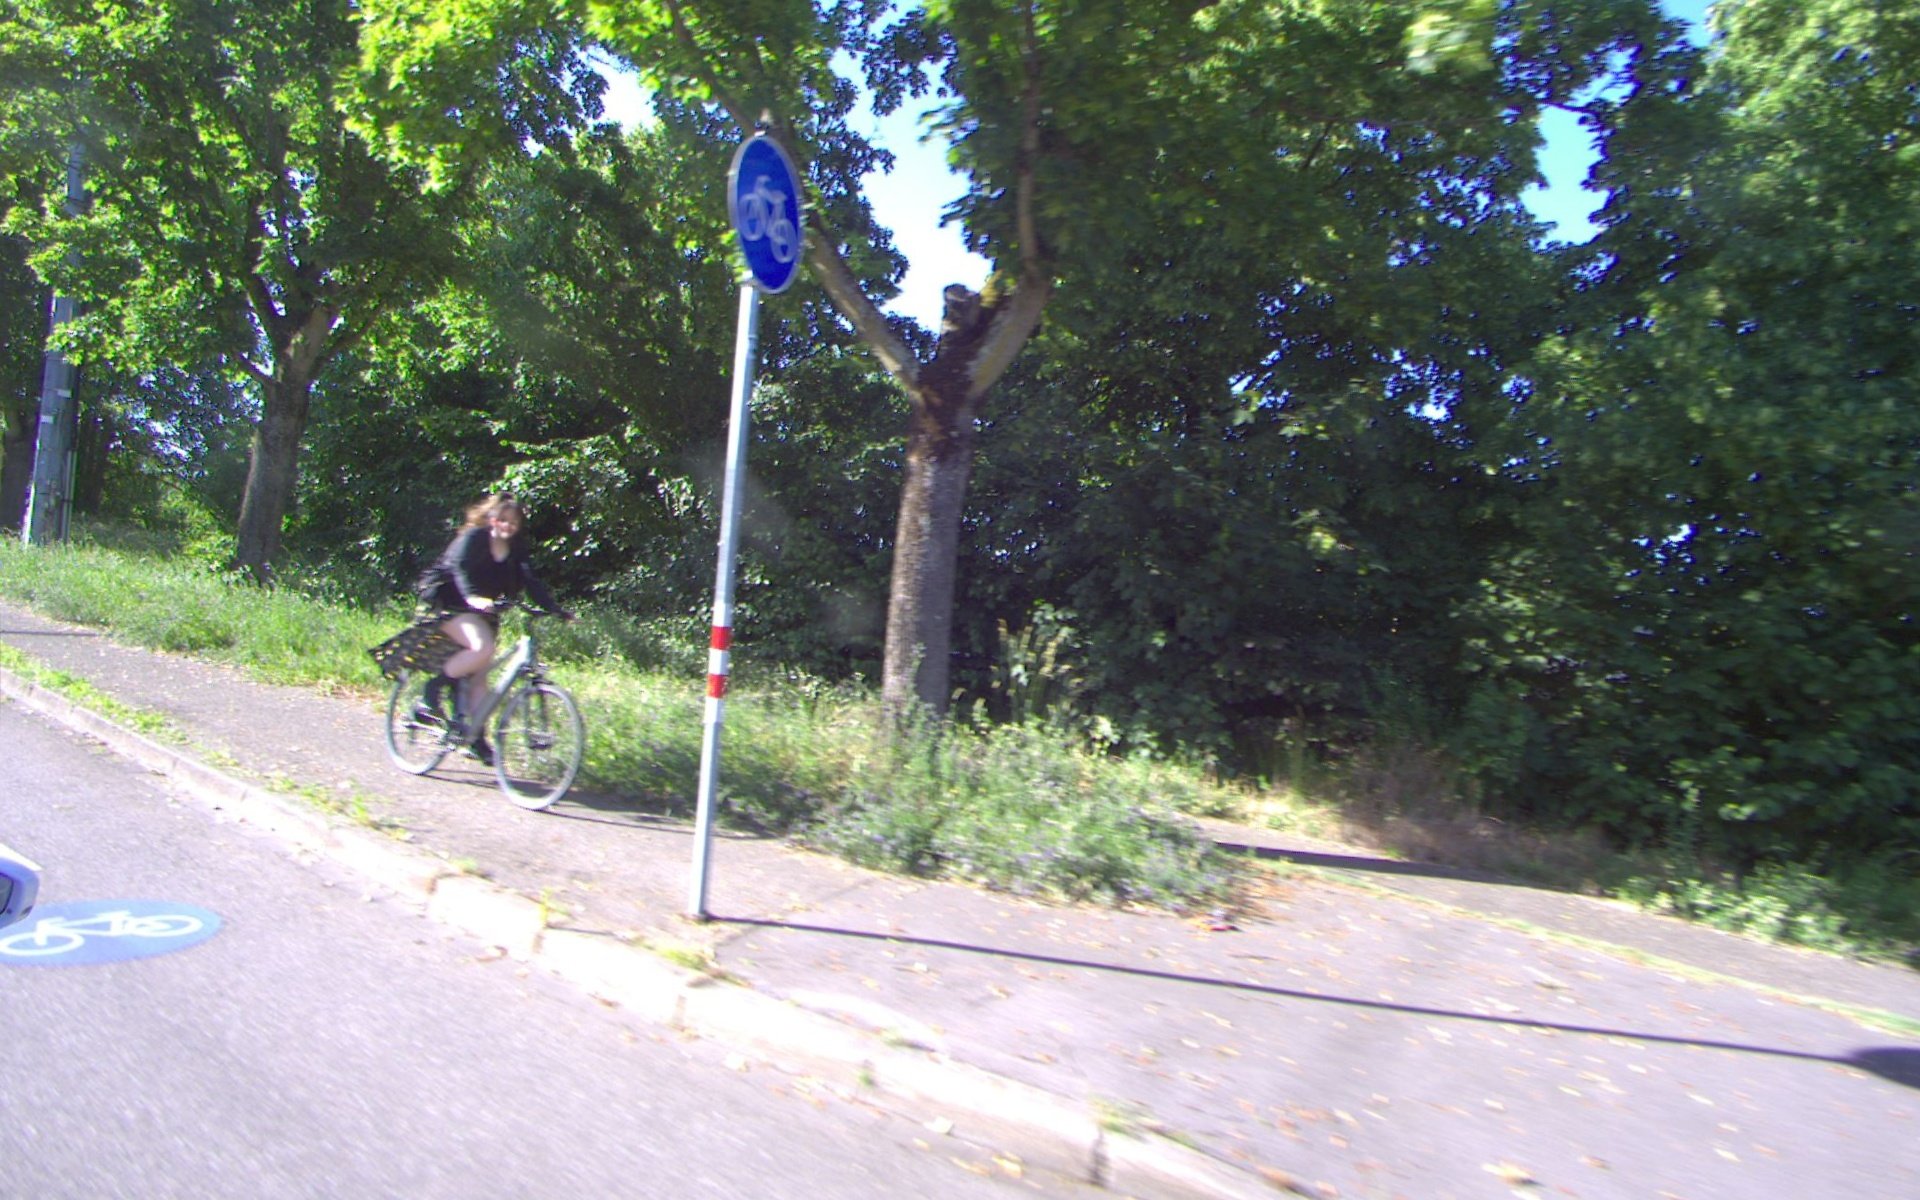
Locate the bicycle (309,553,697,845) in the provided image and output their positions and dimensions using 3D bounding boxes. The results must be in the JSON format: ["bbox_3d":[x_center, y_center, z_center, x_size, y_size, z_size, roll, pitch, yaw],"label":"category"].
[{"bbox_3d":[-2.736,0.477,5.879,2.462,1.207,0.619,9,5,27],"label":"bicycle"}]

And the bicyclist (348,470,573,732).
[{"bbox_3d":[-2.947,0.006,5.966,0.792,1.386,0.757,7,2,27],"label":"bicyclist"}]
